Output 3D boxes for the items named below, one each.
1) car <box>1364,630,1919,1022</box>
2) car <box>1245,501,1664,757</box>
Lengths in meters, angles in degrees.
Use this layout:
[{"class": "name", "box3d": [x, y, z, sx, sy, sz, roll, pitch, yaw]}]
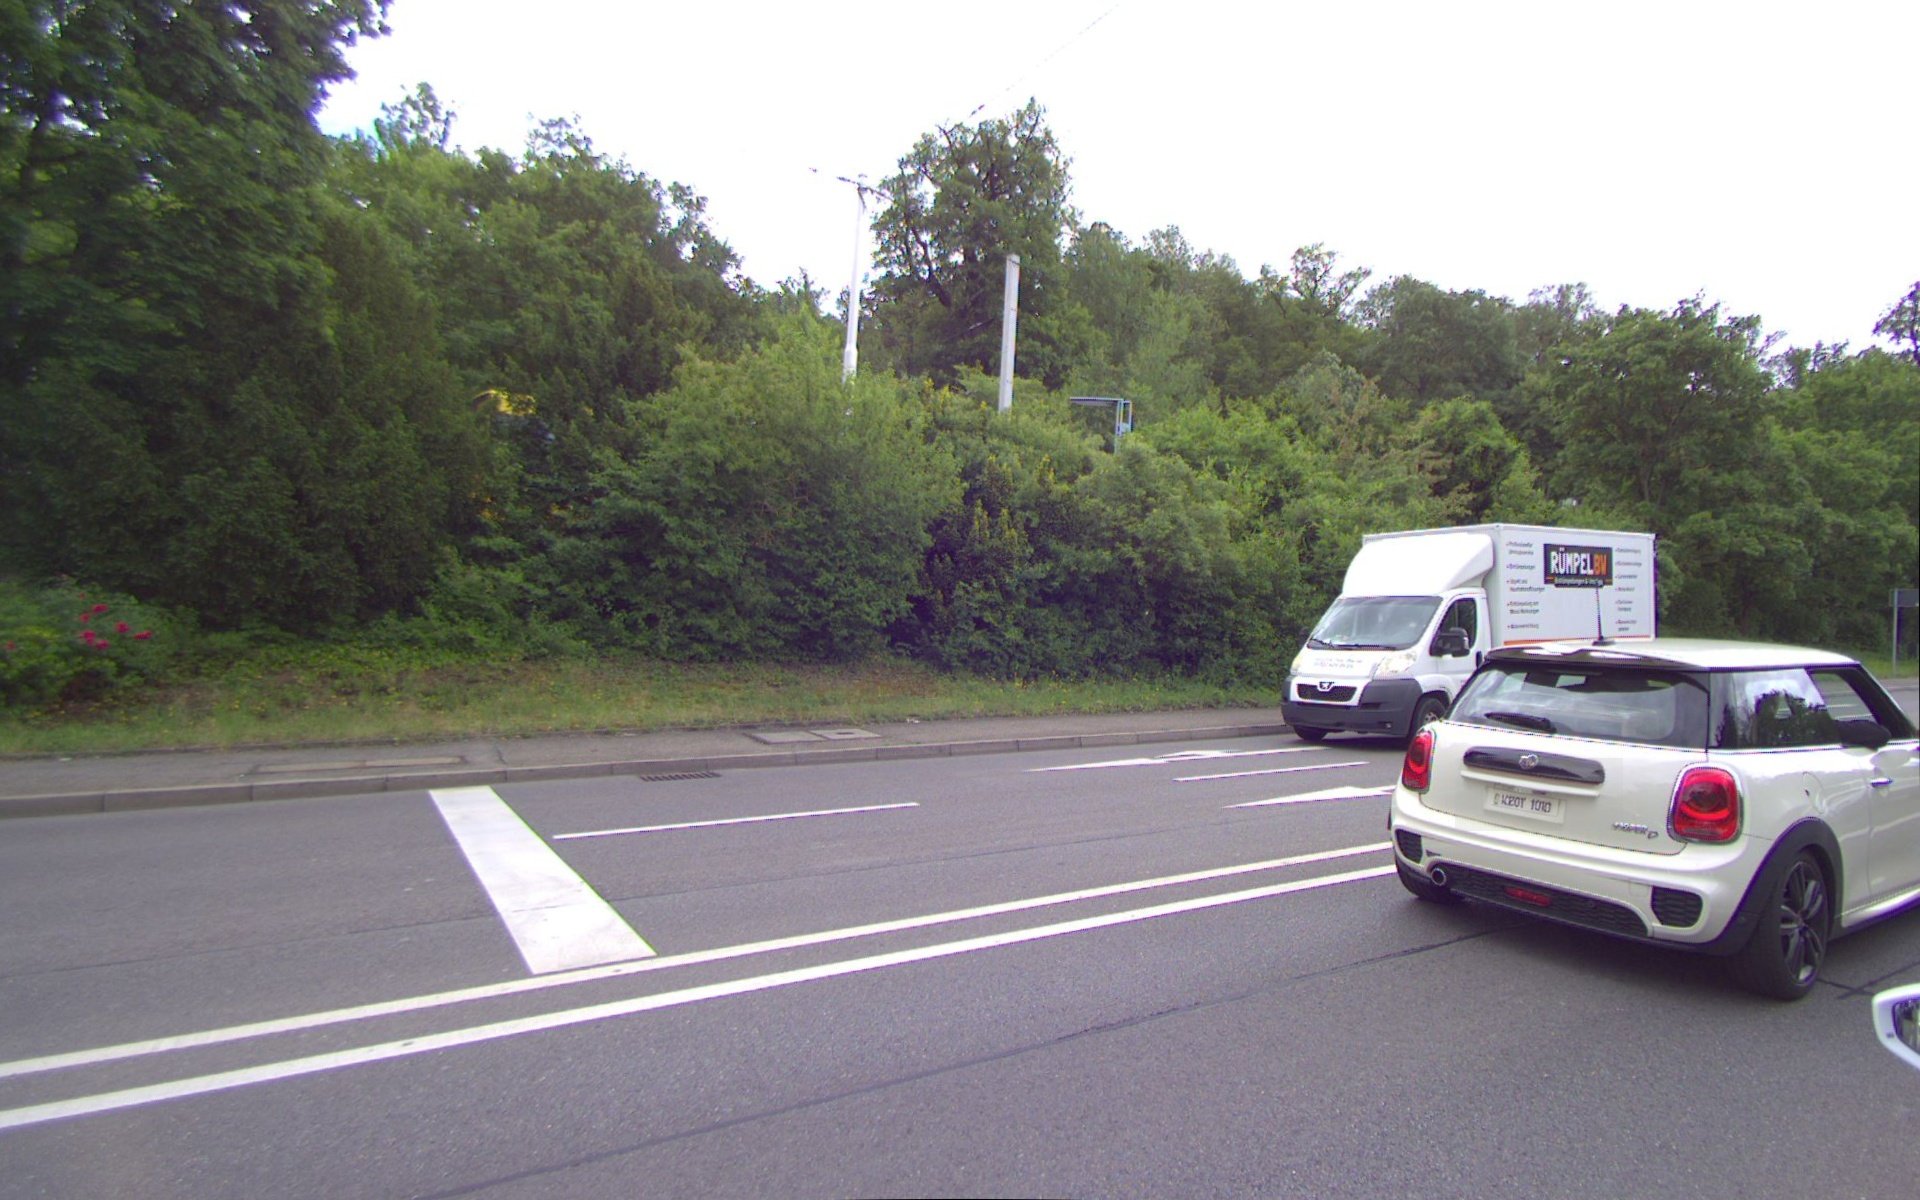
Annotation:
[{"class": "car", "box3d": [3.944, 0.890, 5.309, 3.527, 1.412, 1.619, 2, -2, -32]}, {"class": "car", "box3d": [7.625, 0.444, 15.070, 7.157, 3.097, 2.257, 2, -1, -33]}]
